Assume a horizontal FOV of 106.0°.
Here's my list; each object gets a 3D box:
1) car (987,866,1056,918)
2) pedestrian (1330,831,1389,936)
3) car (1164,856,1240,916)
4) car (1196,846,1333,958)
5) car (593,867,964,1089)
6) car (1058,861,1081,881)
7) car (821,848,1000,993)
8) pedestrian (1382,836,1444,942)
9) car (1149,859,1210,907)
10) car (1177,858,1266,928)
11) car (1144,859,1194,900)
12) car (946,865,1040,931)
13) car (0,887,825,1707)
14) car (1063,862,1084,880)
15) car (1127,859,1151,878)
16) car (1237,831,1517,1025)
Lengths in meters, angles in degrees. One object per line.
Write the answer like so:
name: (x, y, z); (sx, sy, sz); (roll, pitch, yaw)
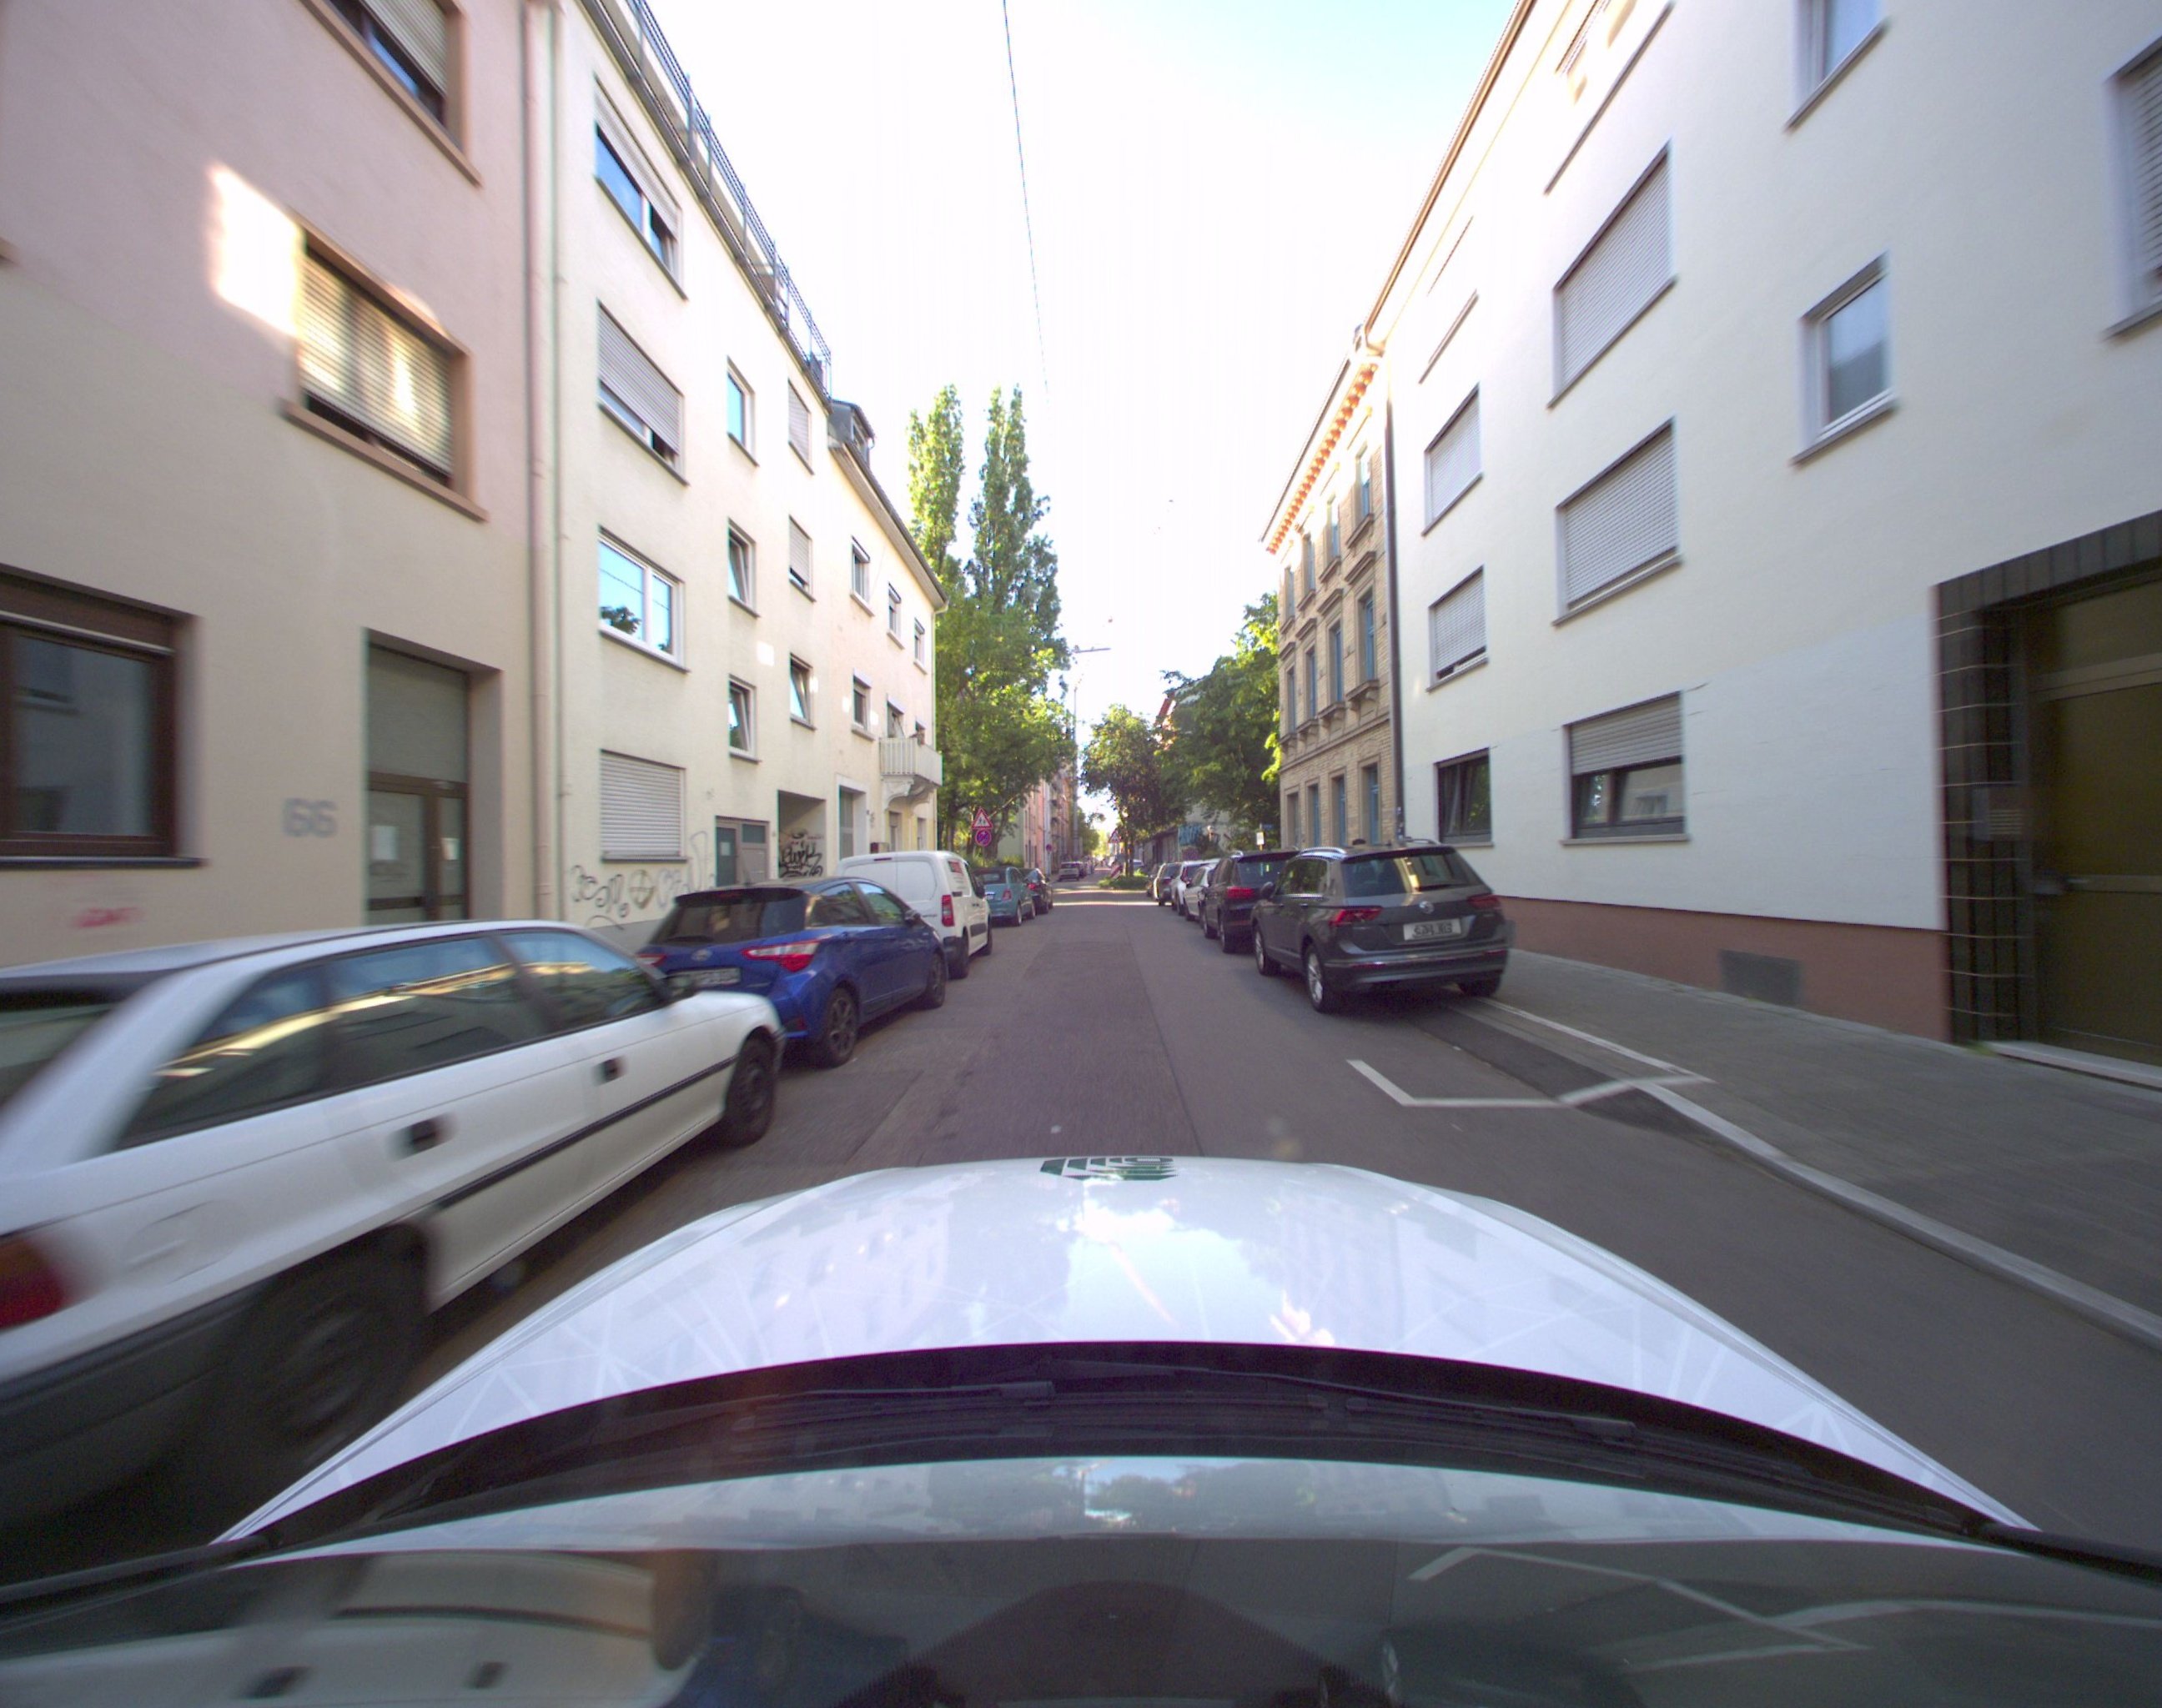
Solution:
car: (-1.771, 1.131, 25.390); (1.664, 1.361, 4.050); (-3, 0, 1)
pedestrian: (4.549, 0.471, 13.360); (0.683, 1.660, 0.717); (-2, -1, 1)
car: (3.481, 0.876, 23.979); (1.670, 1.561, 3.796); (-3, 0, 1)
car: (3.153, 0.792, 14.808); (1.669, 1.681, 4.097); (-3, -1, 3)
car: (-2.504, 0.944, 7.904); (1.664, 1.486, 3.999); (-3, 0, 7)
car: (-0.916, 1.395, 66.434); (1.670, 1.487, 4.095); (-3, 0, 1)
car: (-2.412, 0.869, 12.550); (1.759, 1.785, 4.039); (-3, 0, 1)
pedestrian: (5.403, 0.554, 13.283); (0.683, 1.660, 0.717); (-2, -1, 1)
car: (3.425, 0.977, 28.885); (1.670, 1.487, 4.095); (-3, 0, 1)
car: (3.340, 0.877, 19.971); (1.561, 1.483, 3.619); (-3, 0, 1)
car: (3.599, 1.010, 33.886); (1.670, 1.487, 4.095); (-3, 0, 1)
car: (-2.197, 1.076, 21.313); (1.662, 1.469, 3.825); (-3, 0, 5)
car: (-2.677, 0.952, 3.512); (1.667, 1.388, 4.183); (-3, 0, 1)
car: (-0.674, 1.460, 71.932); (1.670, 1.487, 4.095); (-3, 0, 1)
car: (4.802, 1.199, 67.698); (1.670, 1.487, 3.638); (-3, 0, 1)
car: (3.107, 0.694, 9.551); (1.670, 1.627, 4.251); (-5, -1, 1)
